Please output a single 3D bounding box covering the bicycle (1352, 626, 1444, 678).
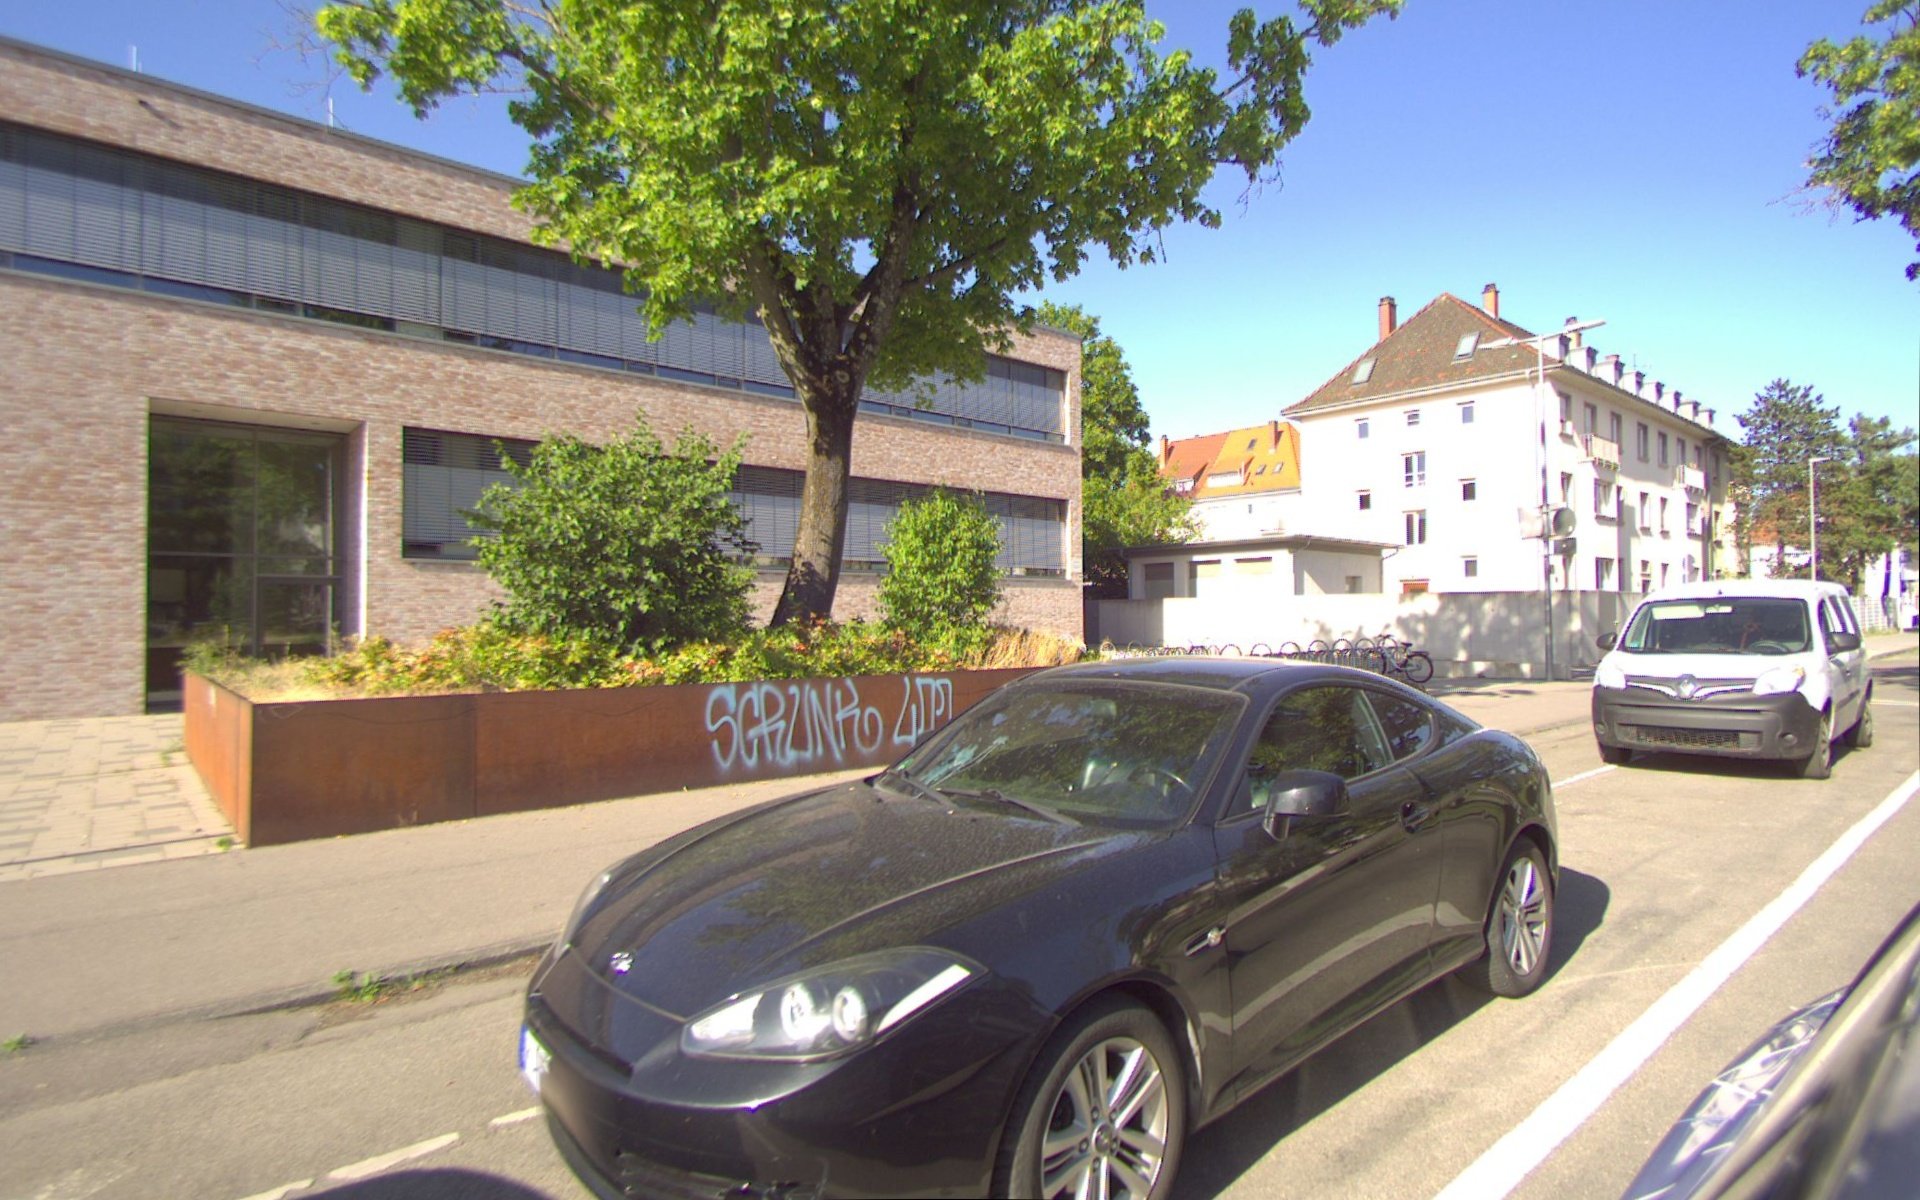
[{"bbox_3d":[9.151,1.080,21.190,0.491,1.043,1.670,1,-3,-42],"label":"bicycle"}]

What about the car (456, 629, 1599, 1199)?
[{"bbox_3d":[0.621,0.815,3.614,4.057,1.342,1.704,0,-2,-41],"label":"car"}]

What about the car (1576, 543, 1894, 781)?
[{"bbox_3d":[8.091,0.529,10.406,4.385,1.933,1.810,0,-2,-42],"label":"car"}]
